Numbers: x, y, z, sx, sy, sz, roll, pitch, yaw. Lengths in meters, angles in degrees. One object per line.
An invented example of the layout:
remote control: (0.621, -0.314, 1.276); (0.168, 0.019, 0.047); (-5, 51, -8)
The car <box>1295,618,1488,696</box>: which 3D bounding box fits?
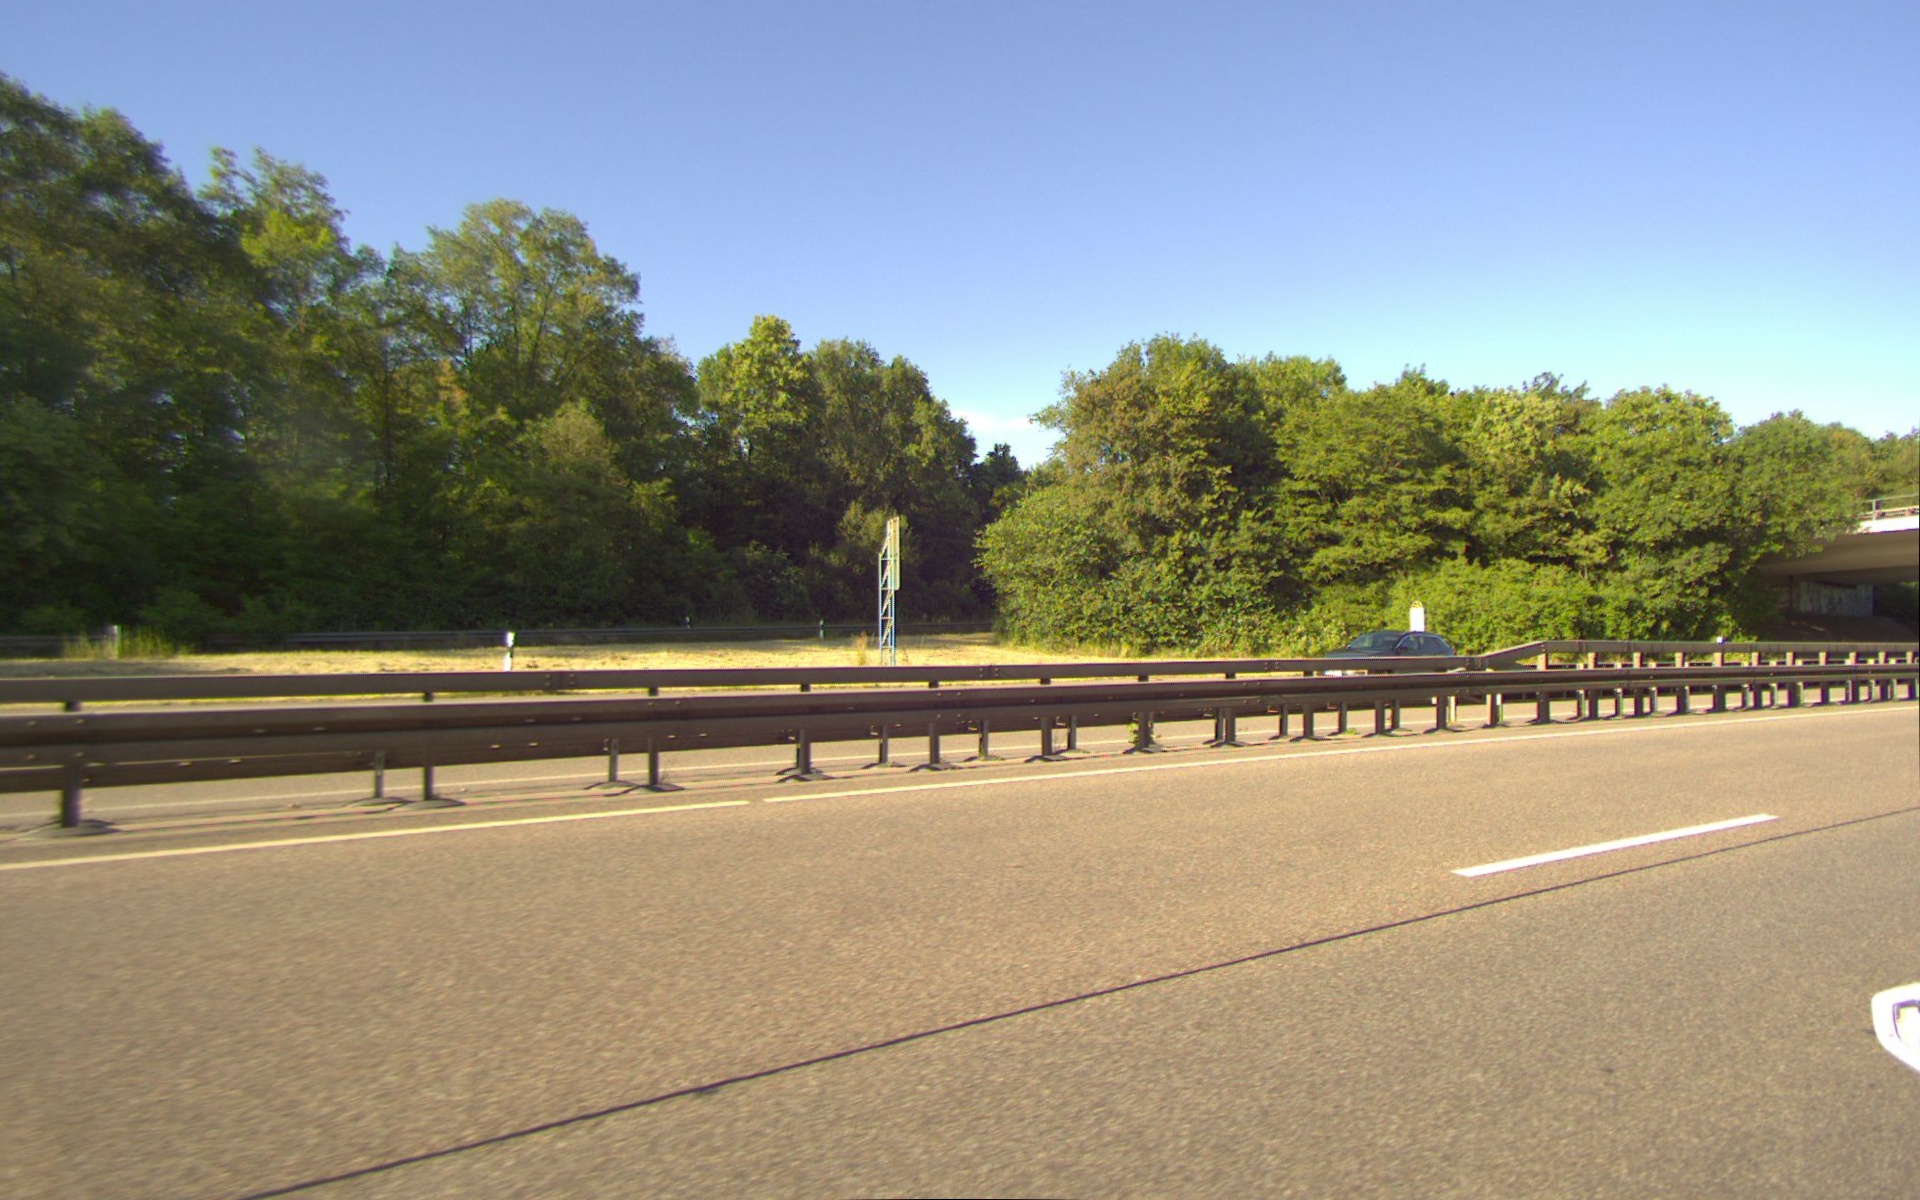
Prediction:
car: (11.525, 1.471, 26.735); (5.248, 1.872, 1.984); (1, 0, -30)
